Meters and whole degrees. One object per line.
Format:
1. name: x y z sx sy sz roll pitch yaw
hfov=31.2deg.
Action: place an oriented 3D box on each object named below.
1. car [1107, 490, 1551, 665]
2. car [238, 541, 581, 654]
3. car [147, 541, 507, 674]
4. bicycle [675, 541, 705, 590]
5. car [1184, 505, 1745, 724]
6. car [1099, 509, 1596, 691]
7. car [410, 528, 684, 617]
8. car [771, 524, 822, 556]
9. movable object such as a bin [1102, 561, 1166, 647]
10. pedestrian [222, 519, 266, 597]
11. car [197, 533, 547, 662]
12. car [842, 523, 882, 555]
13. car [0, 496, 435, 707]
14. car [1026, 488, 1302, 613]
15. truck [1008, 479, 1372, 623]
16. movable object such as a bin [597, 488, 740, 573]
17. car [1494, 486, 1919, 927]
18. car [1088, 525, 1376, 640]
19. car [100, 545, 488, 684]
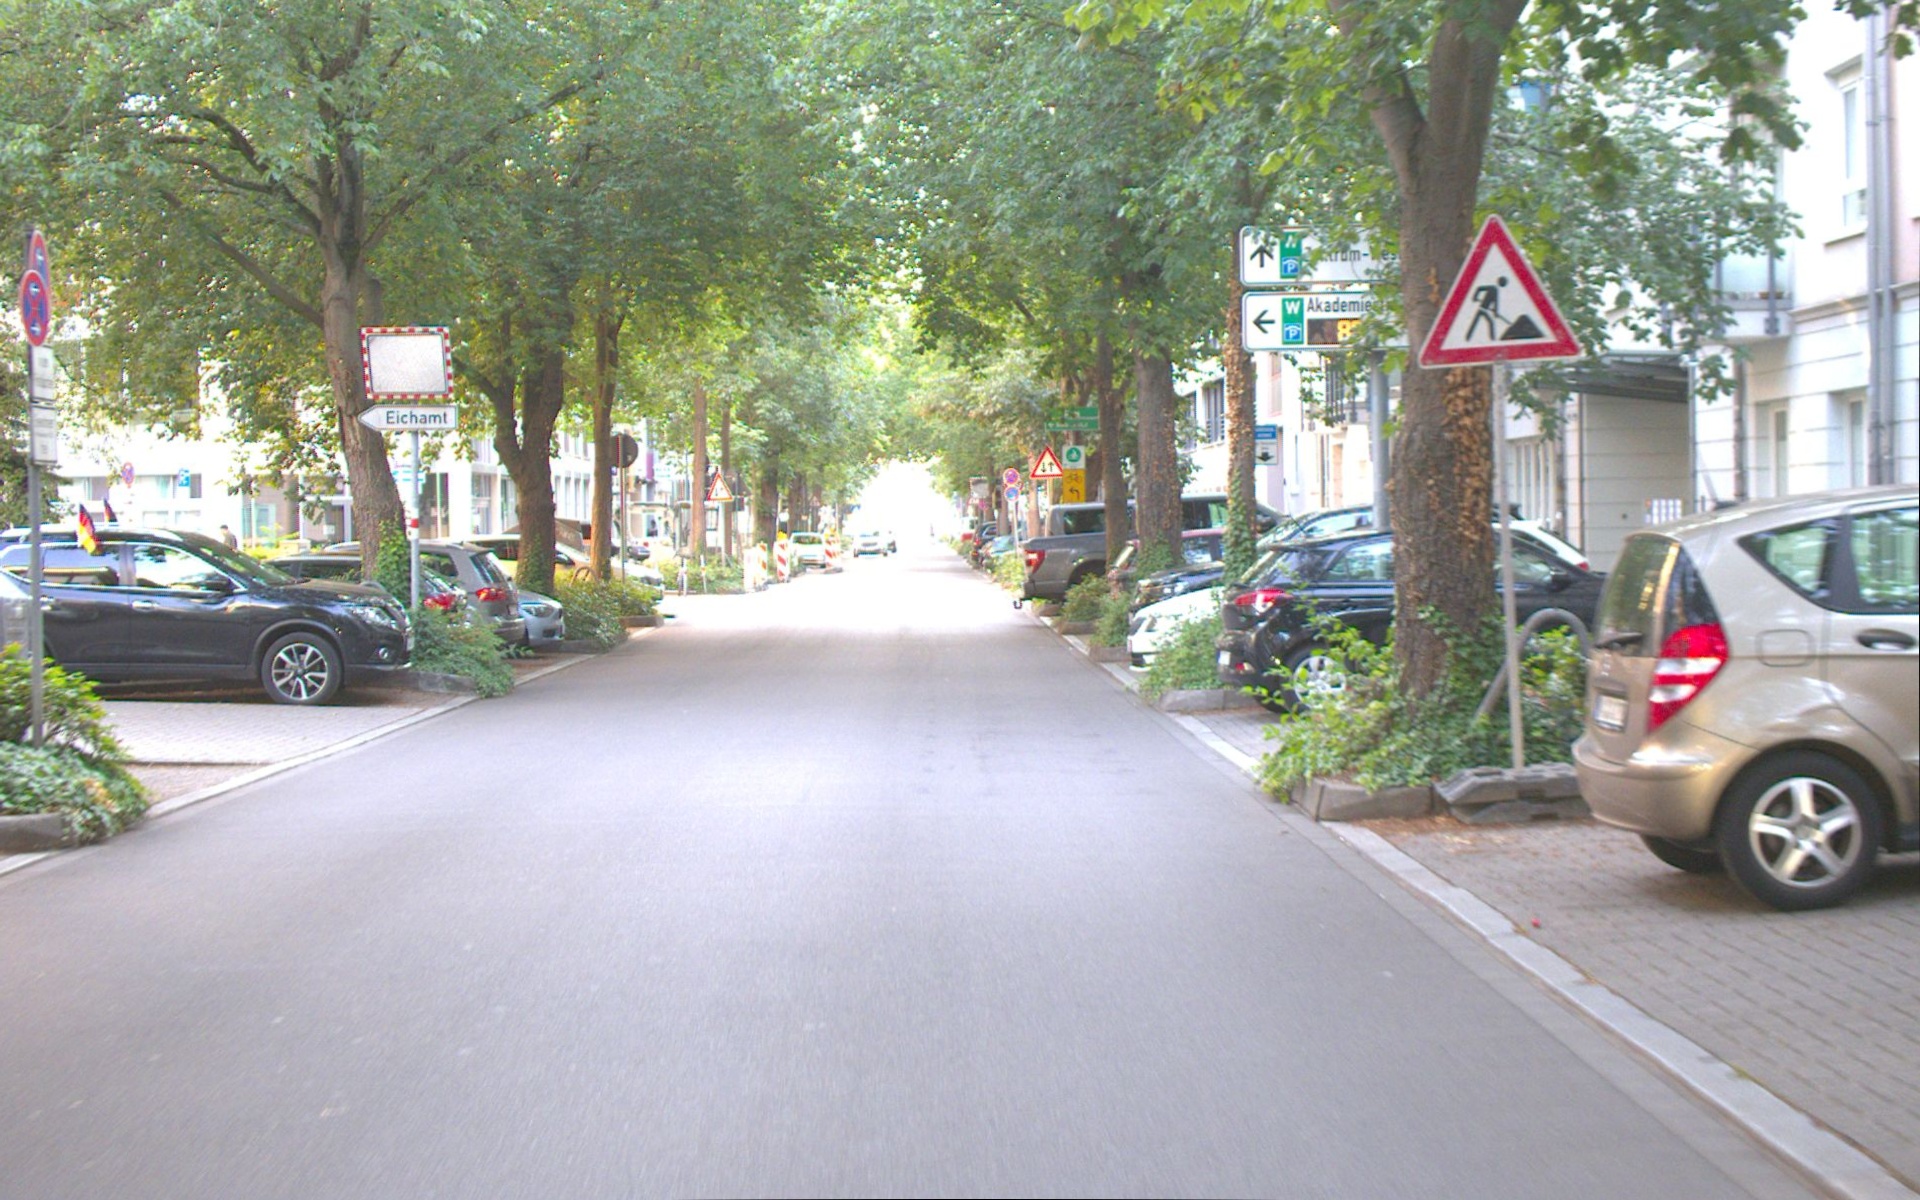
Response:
1. car: 4.147 -0.273 39.163 4.641 1.612 2.010 -4 1 -4
2. car: -7.334 -0.047 46.095 4.287 1.425 1.879 -1 1 0
3. car: -7.458 0.071 40.802 3.986 1.485 1.826 -1 1 -3
4. bicycle: -6.702 -0.863 85.298 0.683 1.148 1.981 -1 2 -6
5. car: 4.037 0.088 27.927 4.082 1.446 1.935 -4 1 -6
6. car: 3.769 -0.020 33.991 4.599 1.463 1.796 -4 1 -1
7. car: -7.399 -0.506 61.874 4.619 1.547 2.075 0 1 2
8. car: -6.914 -2.539 144.832 1.993 1.284 4.001 -1 1 -5
9. movable object such as a bin: 2.280 0.046 45.029 0.760 1.080 0.785 -2 1 1
10. pedestrian: -17.222 -1.017 82.722 0.887 1.844 0.876 -1 1 -4
11. car: -7.393 -0.049 43.466 3.987 1.560 1.929 0 1 5
12. car: -5.142 -3.198 180.184 2.009 1.607 4.120 -1 1 -2
13. car: -7.409 -0.008 33.063 4.504 1.948 2.000 0 1 -4
14. car: 3.521 -0.879 59.939 4.600 2.059 2.198 -1 1 -1
15. truck: 3.766 -0.821 57.197 5.888 2.303 2.212 -1 1 0
16. movable object such as a bin: -8.476 -2.026 99.803 4.045 2.375 2.785 -1 2 -6
17. car: 4.347 0.309 13.920 3.969 1.580 1.916 -3 1 -1
18. car: 3.730 -0.261 47.585 3.776 1.539 1.878 0 1 -2
19. car: -7.383 0.143 38.421 3.986 1.459 1.922 -1 1 -2
